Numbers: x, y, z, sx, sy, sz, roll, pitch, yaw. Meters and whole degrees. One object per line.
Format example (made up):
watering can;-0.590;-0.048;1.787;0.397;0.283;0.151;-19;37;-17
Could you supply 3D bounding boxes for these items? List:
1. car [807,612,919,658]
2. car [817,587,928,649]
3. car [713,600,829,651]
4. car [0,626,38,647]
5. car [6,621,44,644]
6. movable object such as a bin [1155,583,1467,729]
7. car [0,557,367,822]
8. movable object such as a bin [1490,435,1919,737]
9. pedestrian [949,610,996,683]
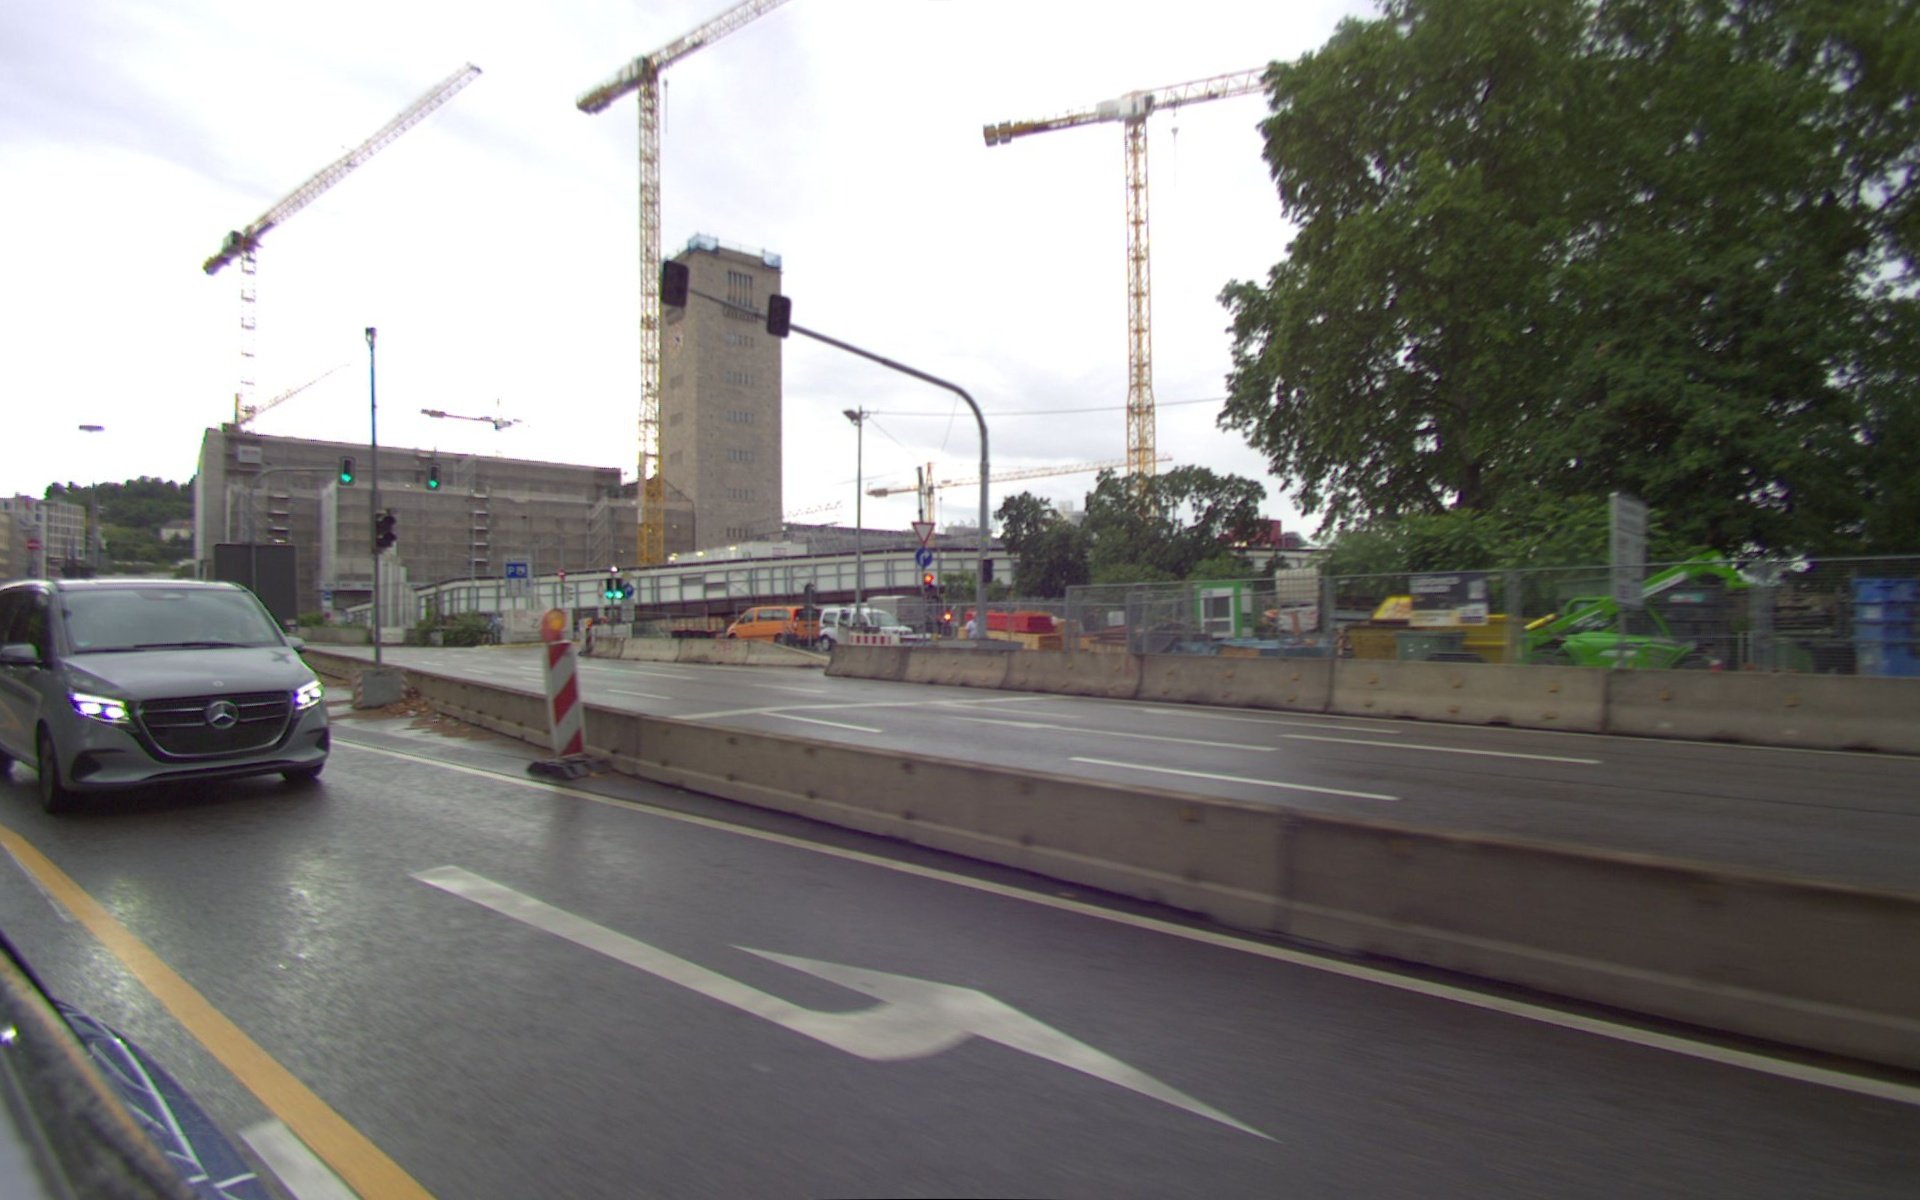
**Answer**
car;-4.040;1.418;41.485;4.797;1.775;1.825;-1;-2;42
car;-4.718;0.984;53.693;6.167;3.089;2.249;-1;-2;42
car;-8.528;1.168;45.374;5.577;2.117;1.973;-1;-4;40
car;-76.328;2.950;81.981;4.001;1.585;2.143;-2;-3;44
car;-71.636;2.480;77.498;4.574;1.665;1.807;-2;-3;44
movable object such as a bin;8.680;1.304;25.385;6.388;3.152;3.889;-1;-2;43
car;-7.857;0.712;9.571;5.348;1.870;1.975;-2;-1;37
movable object such as a bin;15.414;-0.131;19.422;8.359;4.840;4.698;-1;-2;43
pedestrian;0.339;1.325;29.123;1.155;2.029;1.185;-1;-1;-8
